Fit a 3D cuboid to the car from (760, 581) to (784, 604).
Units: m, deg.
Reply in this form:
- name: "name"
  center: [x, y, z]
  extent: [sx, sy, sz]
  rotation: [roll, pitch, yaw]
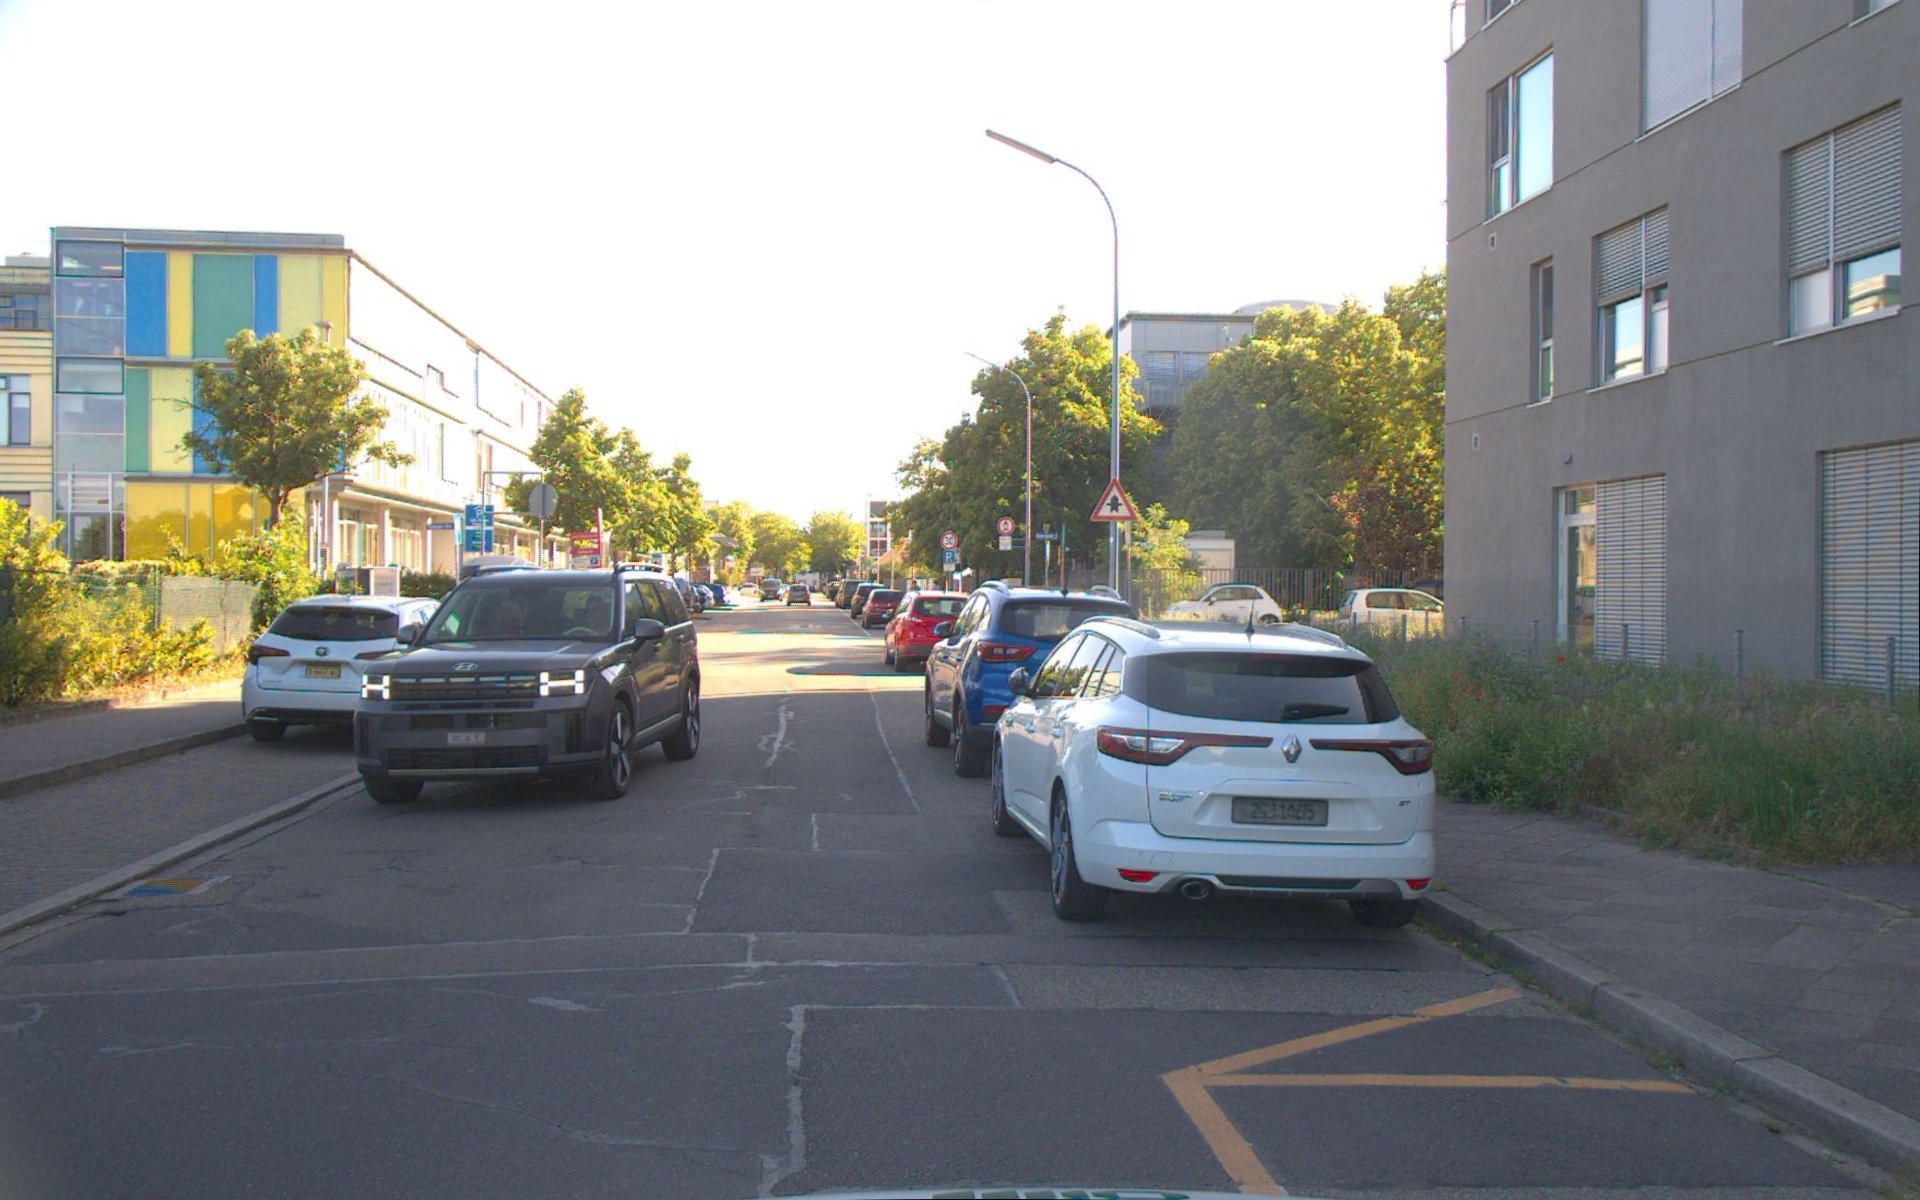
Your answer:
- name: "car"
  center: [-16.037, -0.659, 141.194]
  extent: [1.918, 1.900, 5.246]
  rotation: [1, 0, -7]

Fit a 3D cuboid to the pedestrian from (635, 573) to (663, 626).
- name: "pedestrian"
  center: [-11.204, -0.005, 59.679]
  extent: [0.841, 1.874, 0.825]
  rotation: [2, 0, -4]

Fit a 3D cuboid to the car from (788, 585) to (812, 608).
- name: "car"
  center: [-11.361, -0.275, 117.454]
  extent: [1.710, 1.570, 3.995]
  rotation: [1, 0, -6]

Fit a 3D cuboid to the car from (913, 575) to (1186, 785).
- name: "car"
  center: [0.660, 0.625, 15.504]
  extent: [1.782, 1.627, 4.621]
  rotation: [2, 0, -6]

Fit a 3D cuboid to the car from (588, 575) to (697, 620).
- name: "car"
  center: [-14.385, -0.116, 75.201]
  extent: [4.650, 1.897, 1.825]
  rotation: [2, 0, -5]

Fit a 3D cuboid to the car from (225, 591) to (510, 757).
- name: "car"
  center: [-6.109, 0.679, 17.618]
  extent: [1.713, 1.471, 4.536]
  rotation: [2, 0, -5]

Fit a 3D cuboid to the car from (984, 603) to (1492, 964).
- name: "car"
  center: [1.230, 0.793, 9.325]
  extent: [1.711, 1.454, 4.581]
  rotation: [2, 0, -5]

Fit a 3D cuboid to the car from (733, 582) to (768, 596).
- name: "car"
  center: [-24.141, -1.249, 191.048]
  extent: [3.909, 1.546, 1.998]
  rotation: [0, -1, -5]

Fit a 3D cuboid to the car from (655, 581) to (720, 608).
- name: "car"
  center: [-17.729, -0.353, 107.720]
  extent: [4.136, 1.631, 1.868]
  rotation: [1, 0, -10]

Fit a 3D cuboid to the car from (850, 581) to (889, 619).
- name: "car"
  center: [-4.421, -0.026, 80.108]
  extent: [1.776, 1.695, 4.589]
  rotation: [1, 1, -4]

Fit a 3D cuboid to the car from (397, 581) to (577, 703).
- name: "car"
  center: [-6.731, 0.538, 23.983]
  extent: [1.663, 1.540, 4.512]
  rotation: [2, 0, -6]

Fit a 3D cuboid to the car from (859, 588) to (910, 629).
- name: "car"
  center: [-2.975, 0.290, 64.151]
  extent: [1.687, 1.480, 4.646]
  rotation: [1, 0, -6]

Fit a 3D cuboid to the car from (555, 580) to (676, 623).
- name: "car"
  center: [-13.907, 0.053, 66.935]
  extent: [4.519, 1.680, 1.867]
  rotation: [0, 0, -2]

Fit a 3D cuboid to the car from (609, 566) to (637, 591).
- name: "car"
  center: [-29.596, -1.866, 145.466]
  extent: [1.955, 2.049, 3.995]
  rotation: [0, -1, -6]

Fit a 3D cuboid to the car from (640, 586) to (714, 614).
- name: "car"
  center: [-15.487, -0.009, 90.699]
  extent: [3.914, 1.382, 1.739]
  rotation: [1, 0, -10]

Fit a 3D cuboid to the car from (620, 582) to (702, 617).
- name: "car"
  center: [-14.815, -0.044, 82.180]
  extent: [3.914, 1.635, 1.868]
  rotation: [1, 0, -10]

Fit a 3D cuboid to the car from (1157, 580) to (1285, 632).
- name: "car"
  center: [7.670, 0.170, 48.834]
  extent: [3.477, 1.512, 1.599]
  rotation: [0, 0, -5]

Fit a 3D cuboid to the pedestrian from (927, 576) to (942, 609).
- name: "pedestrian"
  center: [-1.301, -0.394, 85.057]
  extent: [0.685, 1.690, 0.751]
  rotation: [-1, 0, -6]

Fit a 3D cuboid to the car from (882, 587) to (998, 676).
- name: "car"
  center: [-0.454, 0.547, 31.797]
  extent: [1.784, 1.526, 4.446]
  rotation: [2, 0, -6]

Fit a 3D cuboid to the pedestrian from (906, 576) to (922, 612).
- name: "pedestrian"
  center: [-2.318, -0.289, 83.407]
  extent: [0.704, 1.788, 0.884]
  rotation: [-2, 1, -5]

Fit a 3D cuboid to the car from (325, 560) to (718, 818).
- name: "car"
  center: [-3.369, 0.588, 13.794]
  extent: [1.902, 1.757, 4.839]
  rotation: [0, 1, 1]

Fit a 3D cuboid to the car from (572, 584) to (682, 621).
- name: "car"
  center: [-13.956, 0.091, 69.576]
  extent: [4.347, 1.527, 1.825]
  rotation: [0, 0, -5]

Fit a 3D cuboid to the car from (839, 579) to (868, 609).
- name: "car"
  center: [-6.766, -0.365, 104.930]
  extent: [1.699, 1.862, 3.901]
  rotation: [0, 0, -5]

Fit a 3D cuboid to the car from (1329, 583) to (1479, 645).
- name: "car"
  center: [10.940, 0.328, 40.866]
  extent: [3.259, 1.483, 1.714]
  rotation: [0, 0, -1]
